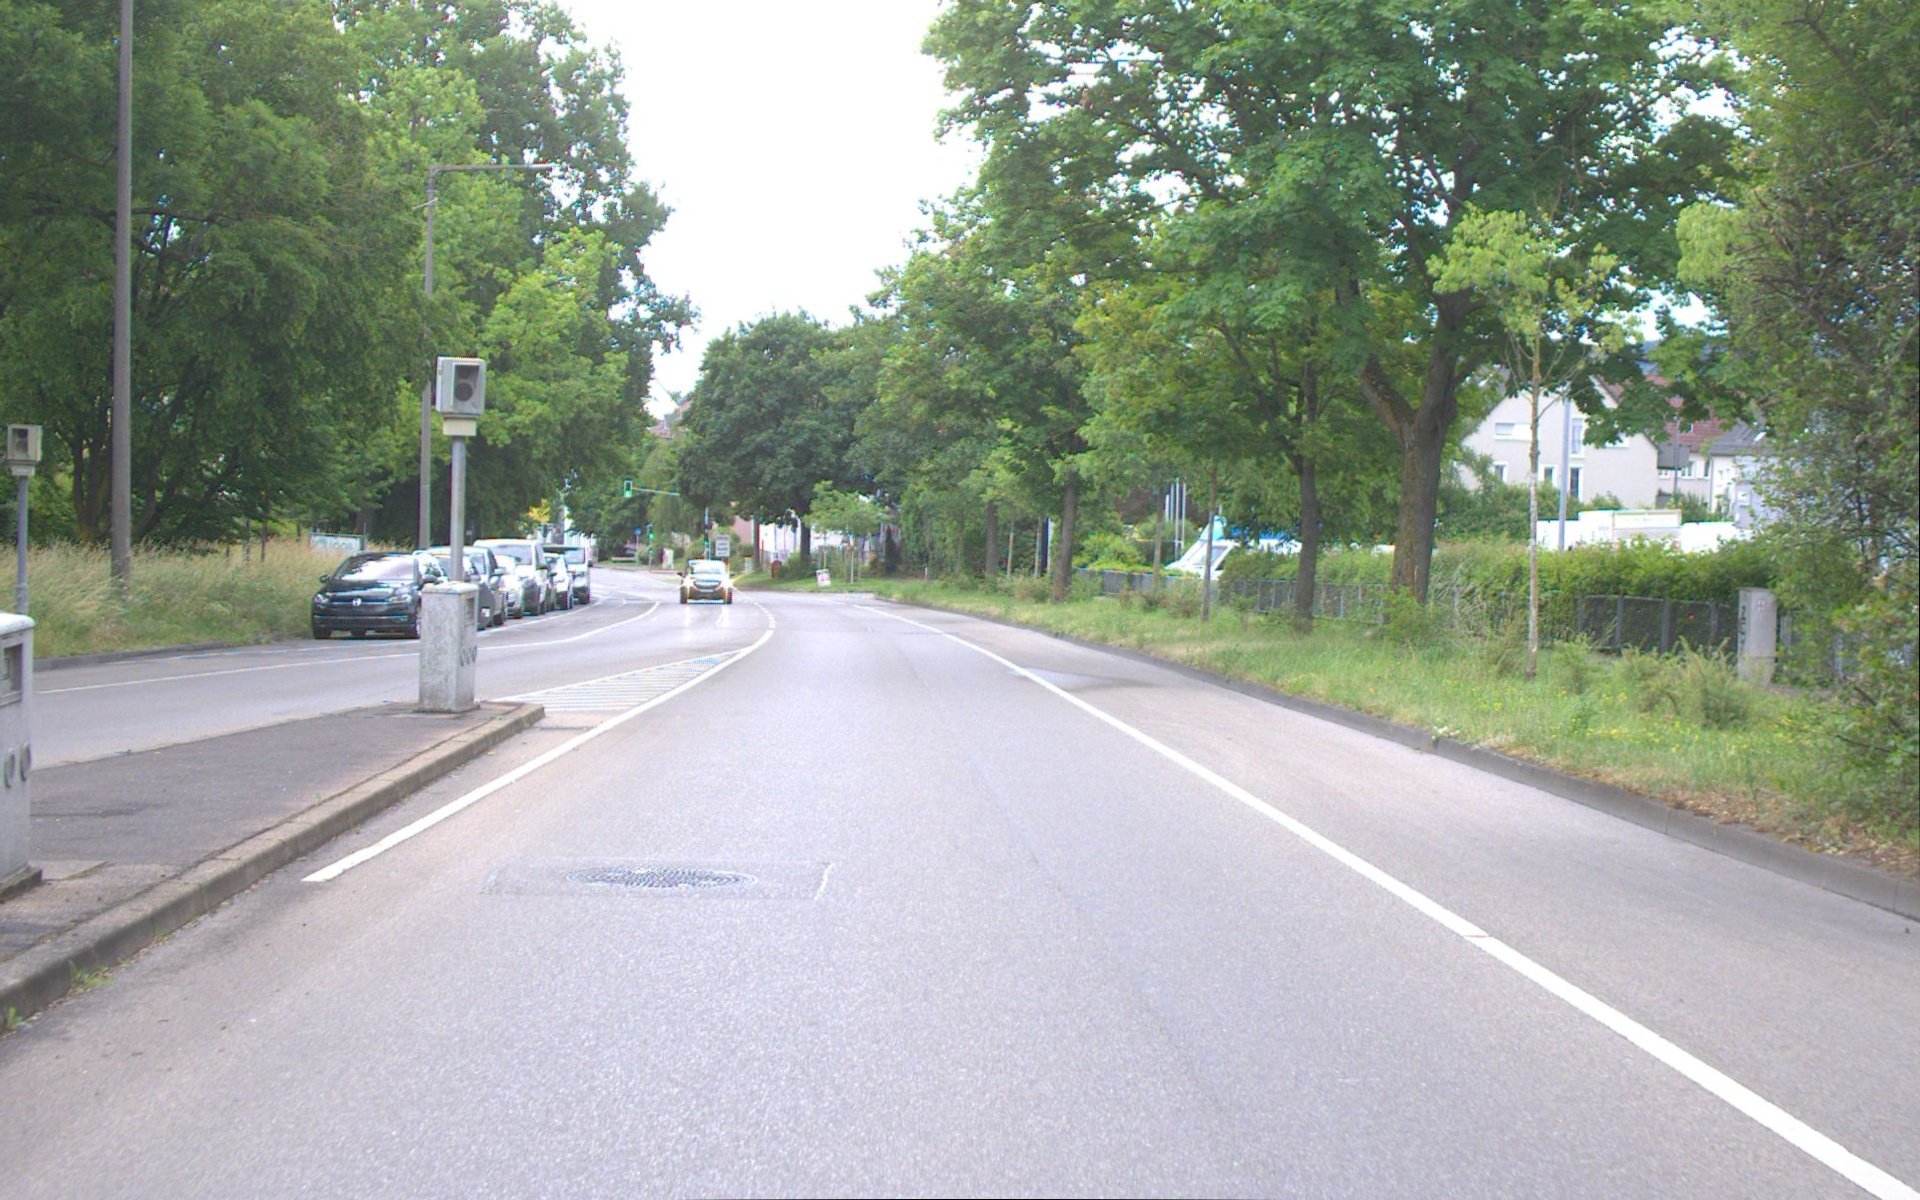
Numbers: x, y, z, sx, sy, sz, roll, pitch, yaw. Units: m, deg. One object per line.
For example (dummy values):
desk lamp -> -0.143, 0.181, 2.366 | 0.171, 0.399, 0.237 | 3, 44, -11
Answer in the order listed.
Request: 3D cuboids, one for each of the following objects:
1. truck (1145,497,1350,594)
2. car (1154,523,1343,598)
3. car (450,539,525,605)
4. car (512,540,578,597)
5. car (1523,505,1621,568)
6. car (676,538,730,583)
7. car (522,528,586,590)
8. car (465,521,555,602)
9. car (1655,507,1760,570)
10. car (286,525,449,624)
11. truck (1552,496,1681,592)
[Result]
truck -> 10.530, -1.983, 125.753 | 7.162, 3.465, 2.619 | 0, 1, -28
car -> 9.895, -1.364, 117.821 | 6.009, 2.359, 2.363 | 2, 0, -27
car -> -11.043, -0.675, 80.496 | 1.634, 1.428, 3.951 | 2, 1, -7
car -> -11.760, -0.899, 97.622 | 1.673, 1.559, 4.282 | 0, 1, -5
car -> 27.801, -2.904, 156.028 | 2.260, 2.667, 5.439 | 2, 3, 35
car -> -8.568, -1.315, 114.921 | 1.637, 1.462, 4.000 | 0, 1, -2
car -> -13.228, -1.328, 112.335 | 1.866, 1.957, 5.128 | 1, 1, -5
car -> -11.297, -0.988, 86.604 | 1.768, 1.924, 5.156 | 2, 1, -3
car -> 33.583, -2.769, 154.306 | 2.261, 2.667, 5.437 | 2, 4, 41
car -> -9.953, -0.441, 58.063 | 1.875, 1.565, 4.651 | 1, 1, 1
truck -> 24.852, -2.085, 130.596 | 2.853, 3.447, 9.542 | 2, 0, -1
